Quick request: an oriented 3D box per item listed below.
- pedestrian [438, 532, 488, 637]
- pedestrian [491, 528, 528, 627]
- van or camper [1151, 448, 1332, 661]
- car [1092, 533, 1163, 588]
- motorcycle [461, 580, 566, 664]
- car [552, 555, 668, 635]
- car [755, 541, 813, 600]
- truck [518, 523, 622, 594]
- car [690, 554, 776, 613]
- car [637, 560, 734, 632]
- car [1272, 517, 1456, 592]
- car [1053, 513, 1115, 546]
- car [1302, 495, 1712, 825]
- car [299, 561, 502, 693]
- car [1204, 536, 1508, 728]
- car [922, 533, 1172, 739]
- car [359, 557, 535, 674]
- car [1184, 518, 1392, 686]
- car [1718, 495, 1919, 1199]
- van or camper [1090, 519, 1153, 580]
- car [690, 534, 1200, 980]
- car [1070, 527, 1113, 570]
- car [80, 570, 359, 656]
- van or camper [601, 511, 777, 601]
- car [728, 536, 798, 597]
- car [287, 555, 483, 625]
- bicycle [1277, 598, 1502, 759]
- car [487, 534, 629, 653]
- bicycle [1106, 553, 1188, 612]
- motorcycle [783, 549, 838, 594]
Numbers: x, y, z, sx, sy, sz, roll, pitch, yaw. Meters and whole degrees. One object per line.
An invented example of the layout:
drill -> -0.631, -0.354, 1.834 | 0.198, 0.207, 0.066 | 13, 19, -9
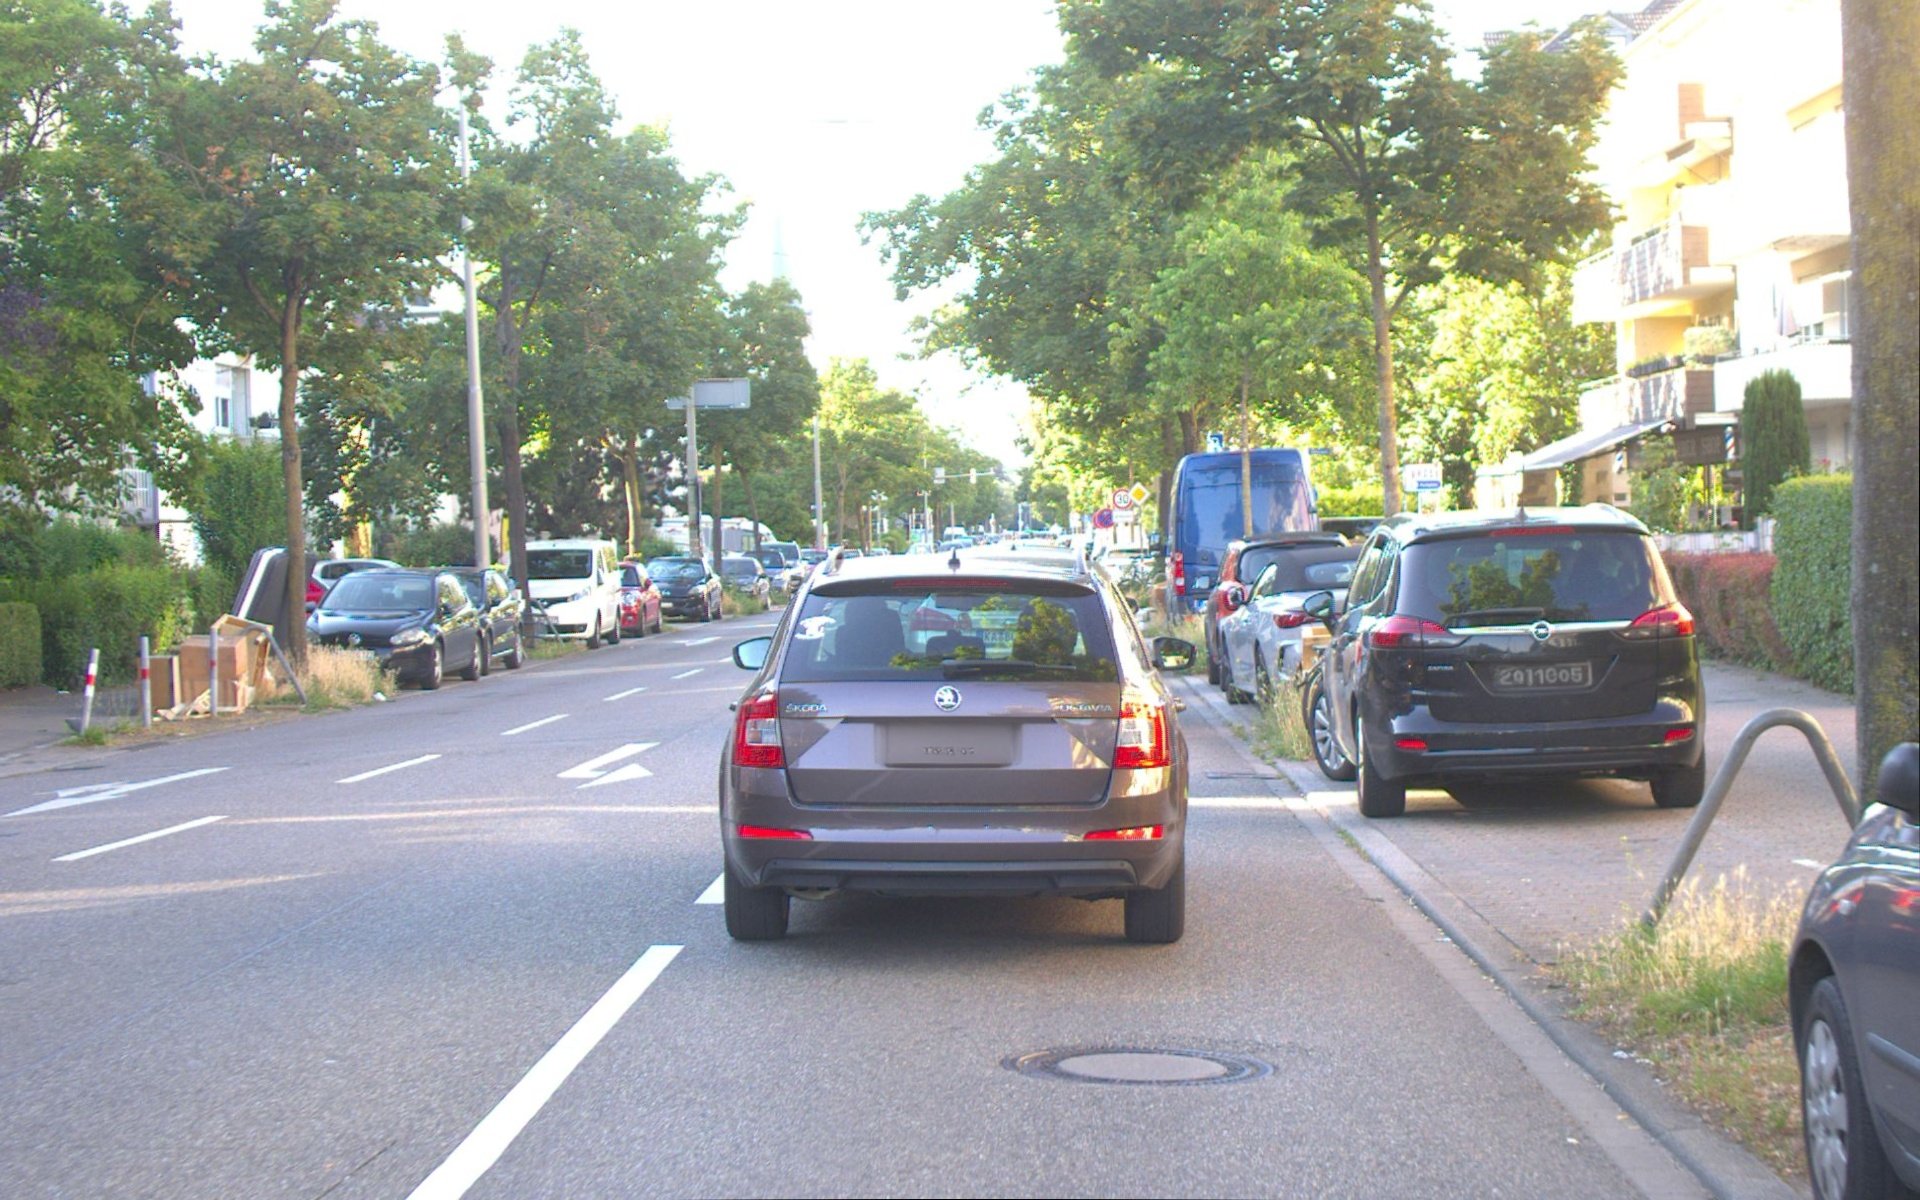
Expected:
pedestrian -> -9.611, -0.310, 66.498 | 0.767, 2.007, 0.976 | -1, 1, 1
pedestrian -> -9.280, -0.471, 70.866 | 0.626, 2.007, 0.616 | -1, 1, 1
van or camper -> 3.737, -0.600, 46.614 | 2.068, 2.666, 5.989 | -1, 0, 2
car -> 4.509, -1.074, 92.091 | 1.821, 1.408, 4.111 | -1, 1, 3
motorcycle -> -6.712, 0.322, 51.723 | 0.441, 1.188, 1.703 | 0, 2, 39
car -> -6.701, -0.119, 66.164 | 1.717, 1.416, 3.786 | -1, 1, 2
car -> -5.475, -0.934, 107.187 | 1.507, 1.751, 3.693 | -1, 1, 1
truck -> -11.809, -1.260, 104.163 | 2.913, 2.086, 1.546 | -1, 1, 1
car -> -5.874, -0.445, 89.345 | 1.754, 1.415, 4.425 | -1, 1, 2
car -> -6.191, -0.104, 77.789 | 1.717, 1.492, 4.248 | -1, 1, 2
car -> 10.810, -1.226, 92.008 | 4.532, 1.886, 1.915 | -2, 1, -26
car -> 7.092, -4.025, 195.936 | 1.879, 1.751, 4.172 | 0, 2, 28
car -> 2.990, 0.253, 19.614 | 1.732, 1.645, 4.291 | -1, 1, 1
car -> -6.980, 0.297, 43.255 | 1.750, 1.497, 4.197 | -1, 1, 1
car -> 3.351, 0.214, 29.975 | 1.920, 1.481, 4.746 | -1, 1, -2
car -> 0.628, 0.228, 27.618 | 1.729, 1.488, 3.951 | -1, 1, -2
car -> -7.141, 0.180, 48.184 | 1.750, 1.497, 3.978 | -1, 1, 1
car -> 3.388, 0.008, 36.092 | 1.773, 1.636, 3.757 | -1, 0, 0
car -> 2.539, 0.576, 5.897 | 1.732, 1.545, 3.646 | -1, 1, 1
van or camper -> 5.432, -1.722, 116.138 | 1.993, 2.007, 4.000 | -1, 1, 1
car -> 0.048, 0.506, 13.816 | 1.729, 1.488, 3.950 | -1, 1, 3
car -> 5.797, -2.287, 151.932 | 1.729, 1.809, 3.951 | -1, 1, 0
car -> -13.040, 0.209, 60.706 | 4.709, 1.358, 2.001 | -1, 1, -11
van or camper -> -12.102, -1.975, 153.941 | 7.640, 3.861, 2.000 | -1, 1, 0
car -> -5.864, -1.008, 102.528 | 1.750, 1.734, 3.591 | -1, 1, 1
car -> -12.524, -0.237, 75.022 | 3.986, 1.474, 2.000 | 0, 1, -2
bicycle -> 2.974, 0.537, 23.824 | 1.476, 1.055, 0.412 | -1, 1, -11
car -> -6.836, -0.147, 58.832 | 1.770, 1.912, 4.460 | -1, 1, 2
bicycle -> 4.161, -0.386, 76.516 | 1.671, 1.222, 0.635 | -3, 1, 14
motorcycle -> -5.109, -0.970, 117.473 | 0.764, 1.506, 2.029 | -2, 2, -41
